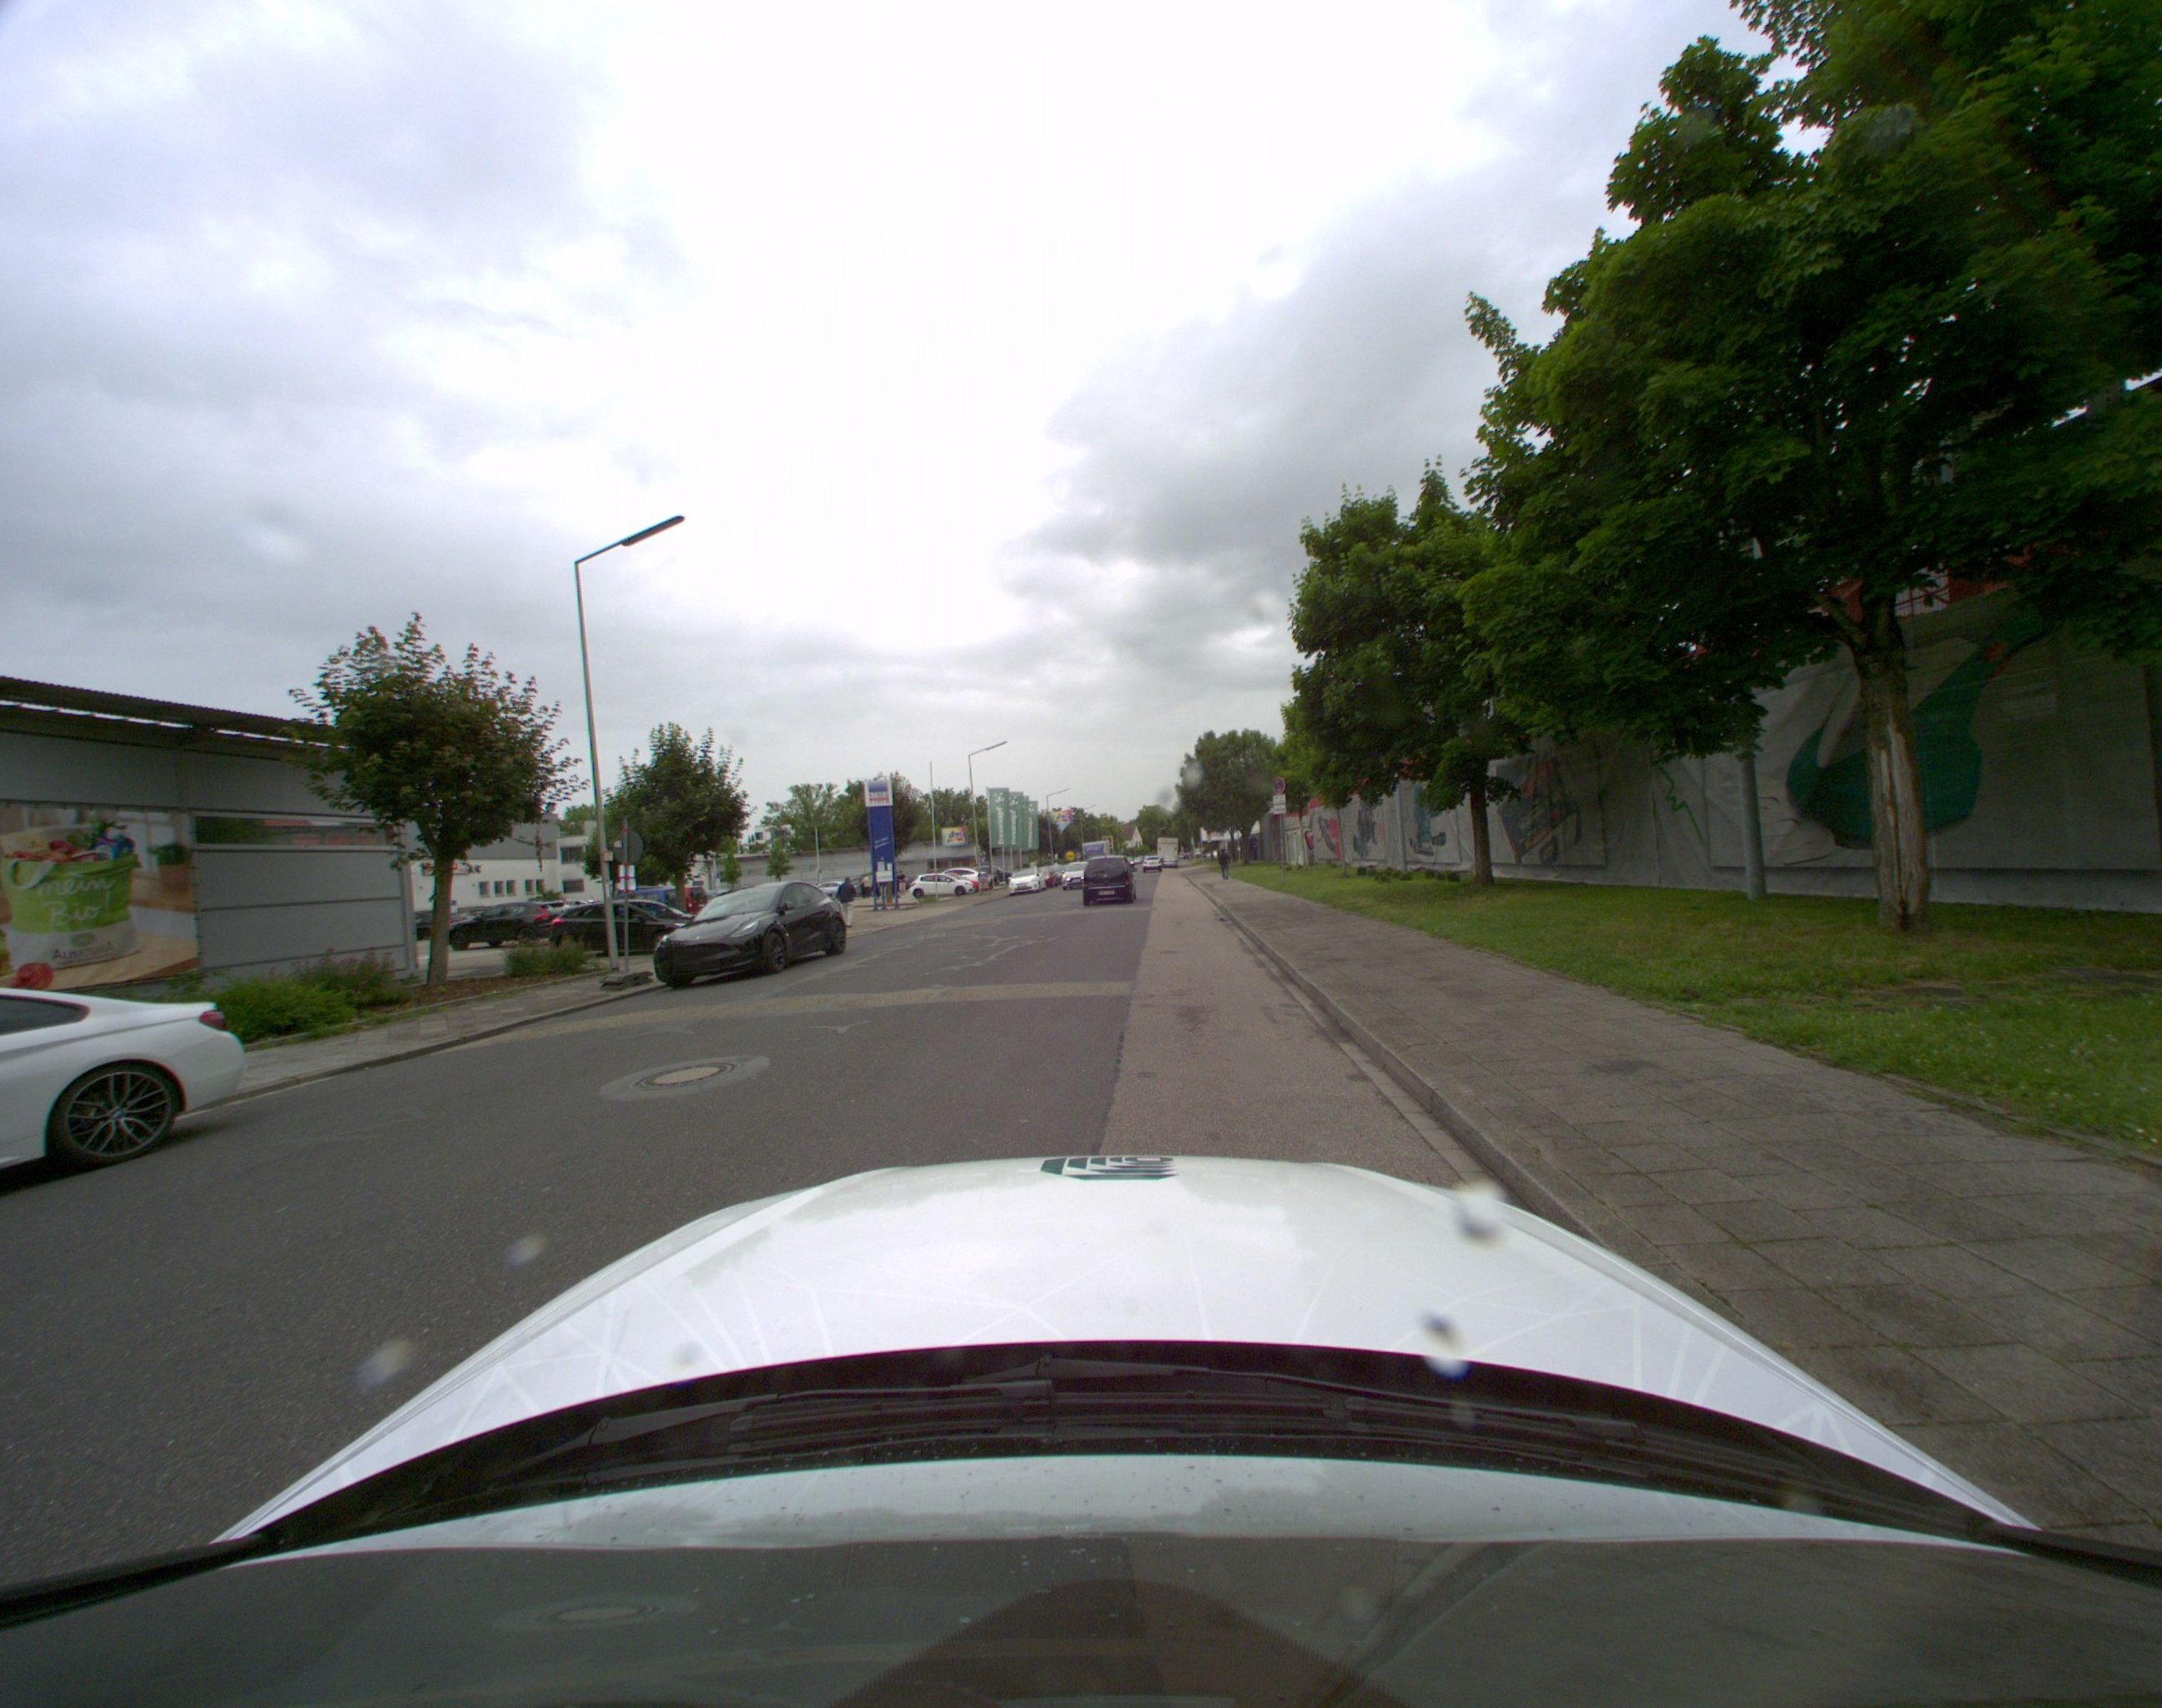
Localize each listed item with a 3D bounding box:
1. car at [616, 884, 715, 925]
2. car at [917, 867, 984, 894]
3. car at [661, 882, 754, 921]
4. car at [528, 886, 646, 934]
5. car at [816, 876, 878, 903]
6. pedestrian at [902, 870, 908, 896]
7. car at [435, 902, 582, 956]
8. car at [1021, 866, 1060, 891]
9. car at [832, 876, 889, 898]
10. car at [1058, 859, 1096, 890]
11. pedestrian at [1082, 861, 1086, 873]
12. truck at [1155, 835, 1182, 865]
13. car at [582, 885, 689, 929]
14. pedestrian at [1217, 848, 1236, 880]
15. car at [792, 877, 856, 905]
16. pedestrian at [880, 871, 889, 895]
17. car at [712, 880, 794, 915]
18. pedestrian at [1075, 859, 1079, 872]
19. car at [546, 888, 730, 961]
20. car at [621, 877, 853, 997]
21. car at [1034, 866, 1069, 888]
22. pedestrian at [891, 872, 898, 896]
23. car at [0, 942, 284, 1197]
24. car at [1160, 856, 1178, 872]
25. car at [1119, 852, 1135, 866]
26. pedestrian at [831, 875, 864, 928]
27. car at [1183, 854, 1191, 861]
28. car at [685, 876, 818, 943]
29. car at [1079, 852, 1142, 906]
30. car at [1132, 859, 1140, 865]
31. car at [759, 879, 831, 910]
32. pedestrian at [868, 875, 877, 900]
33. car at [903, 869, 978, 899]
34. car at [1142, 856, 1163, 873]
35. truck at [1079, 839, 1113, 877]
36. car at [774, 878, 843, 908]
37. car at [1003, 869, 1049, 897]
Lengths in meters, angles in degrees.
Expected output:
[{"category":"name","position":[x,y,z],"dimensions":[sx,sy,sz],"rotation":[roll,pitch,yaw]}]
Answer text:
[{"category":"car","position":[-20.913,2.528,41.089],"dimensions":[3.967,1.669,1.879],"rotation":[-5,-1,5]},{"category":"car","position":[-8.831,1.774,55.256],"dimensions":[4.122,1.463,1.898],"rotation":[-5,-1,0]},{"category":"car","position":[-19.911,2.520,43.463],"dimensions":[3.967,1.669,1.879],"rotation":[-5,-1,5]},{"category":"car","position":[-21.726,2.449,35.893],"dimensions":[3.967,1.669,1.879],"rotation":[-5,-1,5]},{"category":"car","position":[-17.897,2.728,62.361],"dimensions":[3.967,1.669,1.879],"rotation":[-5,-1,5]},{"category":"pedestrian","position":[-11.751,1.927,54.414],"dimensions":[0.262,1.730,0.421],"rotation":[-4,-1,-7]},{"category":"car","position":[-21.067,2.723,30.165],"dimensions":[4.001,1.485,1.864],"rotation":[-4,-1,-20]},{"category":"car","position":[-2.661,1.597,54.083],"dimensions":[1.888,1.367,4.007],"rotation":[-4,-1,6]},{"category":"car","position":[-17.922,2.671,66.167],"dimensions":[3.966,1.492,1.789],"rotation":[-4,-1,6]},{"category":"car","position":[-0.182,1.150,46.136],"dimensions":[1.591,1.528,3.534],"rotation":[-6,-1,6]},{"category":"pedestrian","position":[0.325,1.585,100.100],"dimensions":[0.400,1.531,0.485],"rotation":[-5,-1,0]},{"category":"truck","position":[11.315,-0.442,106.577],"dimensions":[3.120,3.585,10.063],"rotation":[-3,-1,5]},{"category":"car","position":[-21.128,2.494,38.681],"dimensions":[3.967,1.669,1.879],"rotation":[-5,-1,5]},{"category":"pedestrian","position":[7.760,0.547,43.477],"dimensions":[0.914,1.635,0.854],"rotation":[-3,-1,7]},{"category":"car","position":[-18.872,2.734,59.938],"dimensions":[3.967,1.669,1.879],"rotation":[-5,-1,5]},{"category":"pedestrian","position":[-13.057,1.915,54.130],"dimensions":[0.358,1.570,0.503],"rotation":[-4,-1,-5]},{"category":"car","position":[-19.544,2.592,48.631],"dimensions":[3.967,1.669,1.879],"rotation":[-5,-1,5]},{"category":"pedestrian","position":[-0.504,1.473,104.463],"dimensions":[0.400,1.531,0.485],"rotation":[-5,-1,-1]},{"category":"car","position":[-11.838,1.856,21.916],"dimensions":[3.854,1.620,1.931],"rotation":[-3,-1,6]},{"category":"car","position":[-6.037,1.376,14.994],"dimensions":[1.938,1.526,4.408],"rotation":[-9,-1,4]},{"category":"car","position":[-2.125,1.666,59.558],"dimensions":[1.888,1.367,4.007],"rotation":[-4,-1,6]},{"category":"pedestrian","position":[-12.463,2.034,54.536],"dimensions":[0.329,1.570,0.503],"rotation":[-3,-1,-6]},{"category":"car","position":[-7.453,1.505,4.264],"dimensions":[1.691,1.367,4.524],"rotation":[-9,-1,5]},{"category":"car","position":[10.465,1.240,97.430],"dimensions":[1.984,1.806,4.005],"rotation":[-3,-1,5]},{"category":"car","position":[6.184,0.695,109.466],"dimensions":[1.984,1.684,4.005],"rotation":[-3,-1,5]},{"category":"pedestrian","position":[-7.851,1.594,27.418],"dimensions":[0.772,1.715,0.697],"rotation":[-4,-1,1]},{"category":"car","position":[26.064,0.826,200.558],"dimensions":[1.877,1.683,4.262],"rotation":[-2,0,7]},{"category":"car","position":[-11.768,1.953,29.270],"dimensions":[3.919,2.013,1.760],"rotation":[-5,-1,-2]},{"category":"car","position":[1.093,0.801,28.242],"dimensions":[1.672,1.632,3.767],"rotation":[-5,-1,8]},{"category":"car","position":[11.904,1.736,175.066],"dimensions":[1.534,1.365,3.434],"rotation":[-3,-1,6]},{"category":"car","position":[-18.830,2.636,53.732],"dimensions":[3.967,1.669,1.879],"rotation":[-5,-1,5]},{"category":"pedestrian","position":[-13.811,2.205,53.946],"dimensions":[0.455,1.642,0.373],"rotation":[-4,-1,-12]},{"category":"car","position":[-8.626,1.858,50.330],"dimensions":[4.192,1.463,1.951],"rotation":[-5,-1,-2]},{"category":"car","position":[6.872,0.971,77.872],"dimensions":[1.877,1.532,4.262],"rotation":[-2,0,7]},{"category":"truck","position":[1.751,0.437,93.187],"dimensions":[2.958,3.955,6.416],"rotation":[-6,-1,6]},{"category":"car","position":[-18.830,2.696,56.411],"dimensions":[3.967,1.669,1.879],"rotation":[-5,-1,5]},{"category":"car","position":[-3.153,1.660,47.585],"dimensions":[1.888,1.367,4.007],"rotation":[-5,-1,6]}]
